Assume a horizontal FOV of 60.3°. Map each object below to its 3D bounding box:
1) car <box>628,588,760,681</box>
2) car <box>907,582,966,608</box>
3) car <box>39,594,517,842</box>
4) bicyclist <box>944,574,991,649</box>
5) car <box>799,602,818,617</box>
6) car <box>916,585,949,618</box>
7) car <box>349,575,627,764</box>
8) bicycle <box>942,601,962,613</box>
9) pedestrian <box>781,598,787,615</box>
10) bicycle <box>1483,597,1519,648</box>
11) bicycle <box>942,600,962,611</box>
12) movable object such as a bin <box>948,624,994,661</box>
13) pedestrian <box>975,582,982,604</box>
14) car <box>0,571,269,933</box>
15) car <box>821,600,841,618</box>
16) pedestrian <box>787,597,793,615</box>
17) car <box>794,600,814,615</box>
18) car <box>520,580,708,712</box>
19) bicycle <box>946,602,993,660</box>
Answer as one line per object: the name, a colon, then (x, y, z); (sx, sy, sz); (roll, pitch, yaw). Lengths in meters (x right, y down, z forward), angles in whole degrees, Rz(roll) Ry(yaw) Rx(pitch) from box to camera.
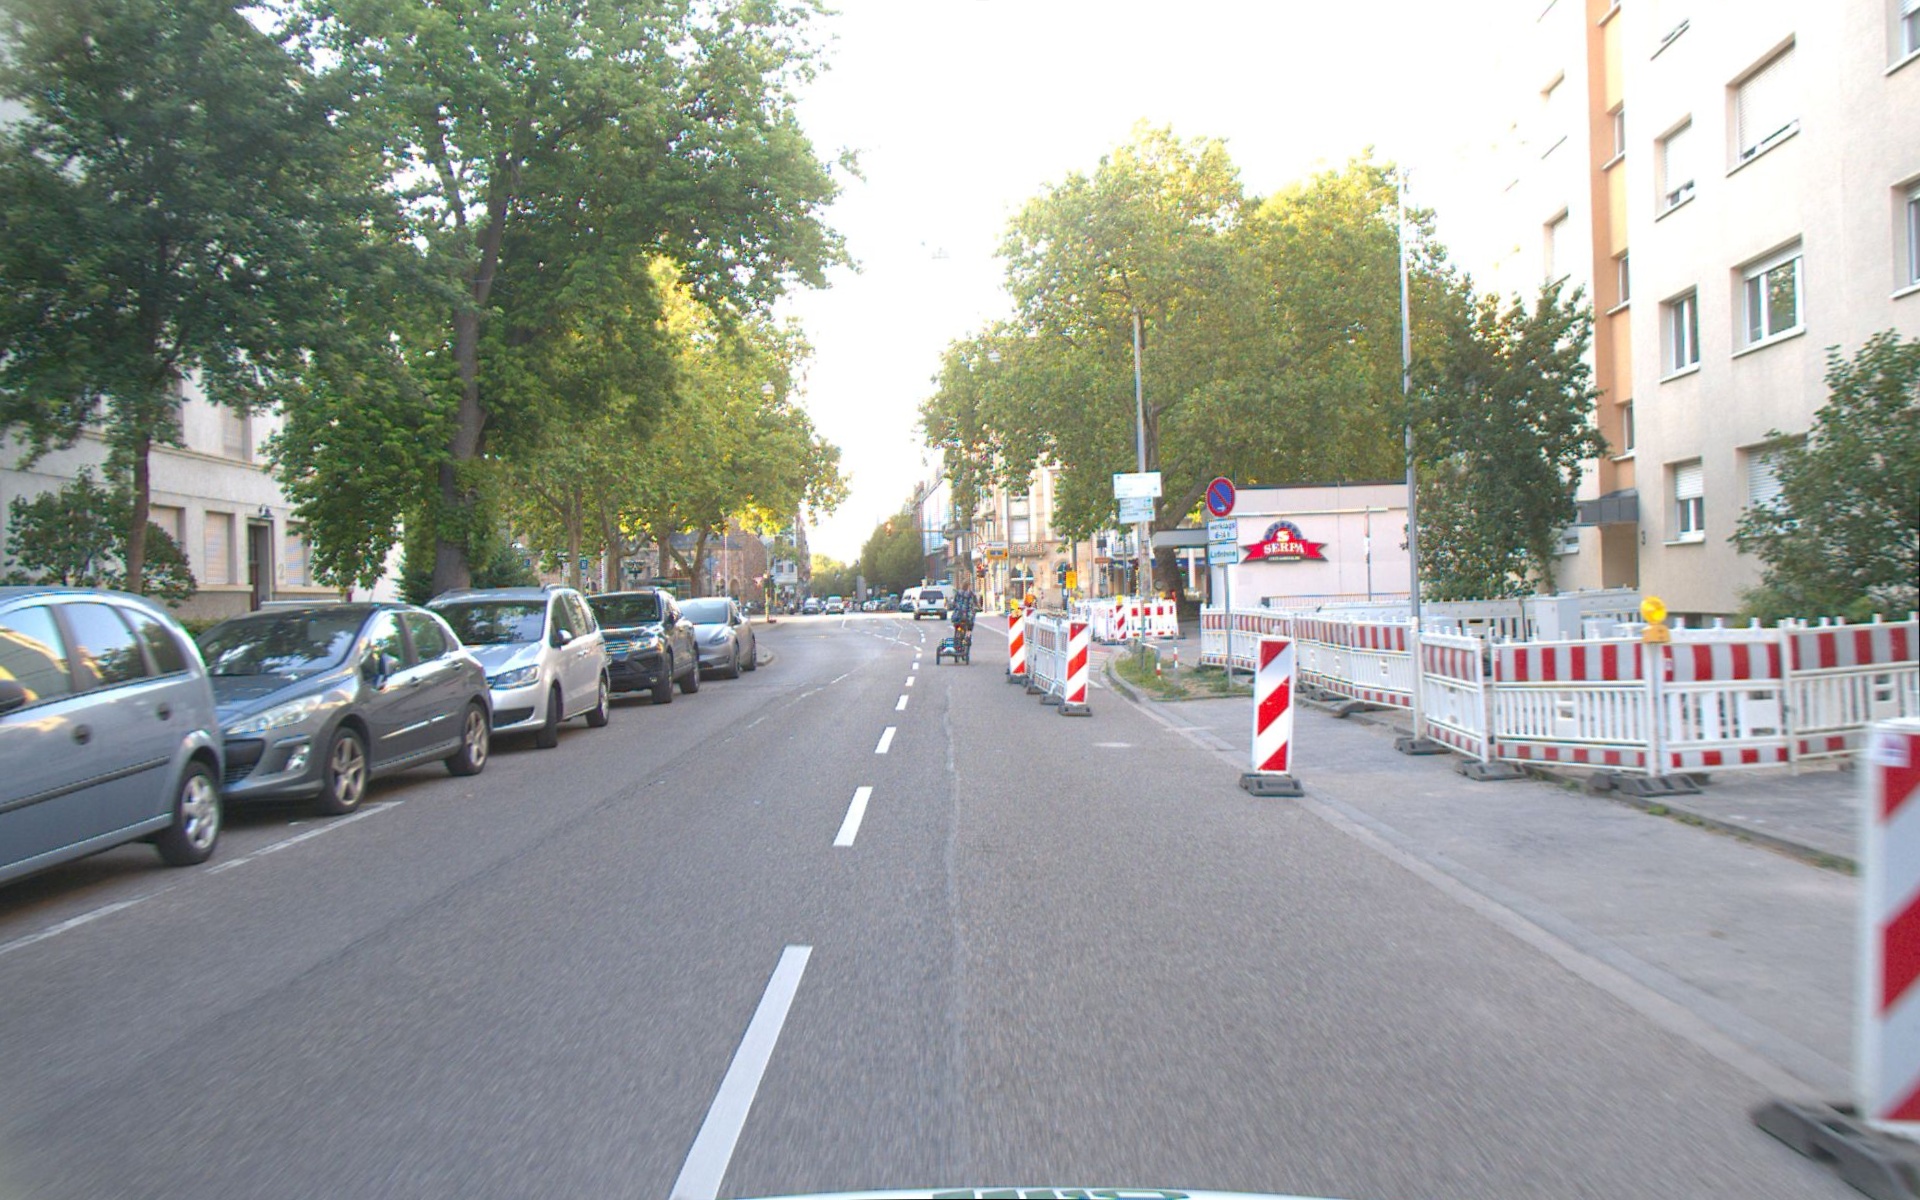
car: (-5.315, 0.655, 33.618); (1.914, 1.645, 4.604); (-4, 0, -1)
car: (-2.248, -0.505, 159.954); (5.779, 2.328, 2.039); (-2, 0, -44)
car: (-5.077, 0.772, 13.039); (1.696, 1.523, 4.272); (-4, 0, 4)
bicyclist: (0.156, 0.261, 37.548); (0.920, 1.609, 1.146); (-4, 0, -2)
car: (-17.790, 1.140, 193.796); (1.956, 1.680, 3.814); (0, 0, -8)
car: (-1.636, 0.087, 97.628); (1.828, 1.846, 3.998); (-3, 0, -2)
car: (-5.081, 0.674, 18.528); (1.810, 1.720, 4.857); (-4, 0, -2)
bicycle: (-0.734, 0.652, 153.735); (1.876, 0.985, 0.545); (-2, 0, -2)
pedestrian: (-19.309, 0.701, 181.605); (0.581, 1.919, 0.585); (-2, 0, 4)
bicycle: (10.995, 0.447, 33.577); (0.533, 0.985, 1.814); (-2, 0, 22)
bicycle: (-0.760, 0.535, 153.456); (1.876, 0.985, 0.545); (-2, 0, -2)
movable object such as a bin: (0.235, 0.918, 35.852); (0.920, 0.701, 0.993); (-4, 0, -2)
pedestrian: (1.622, -0.582, 144.603); (0.581, 1.919, 0.647); (-2, 0, 1)
car: (-5.191, 0.749, 8.260); (1.673, 1.628, 4.116); (-5, 0, -1)
car: (-12.792, 0.896, 164.280); (1.748, 1.680, 3.814); (0, 0, -8)
pedestrian: (-18.657, 0.638, 181.666); (0.581, 1.919, 0.554); (-2, 0, 4)
car: (-17.549, 0.847, 186.011); (1.956, 1.680, 3.814); (0, 0, -8)
car: (-5.255, 0.651, 25.780); (1.914, 1.748, 4.770); (-4, 0, -1)
bicycle: (0.188, 0.687, 37.530); (0.920, 1.192, 2.358); (-4, 0, -1)
